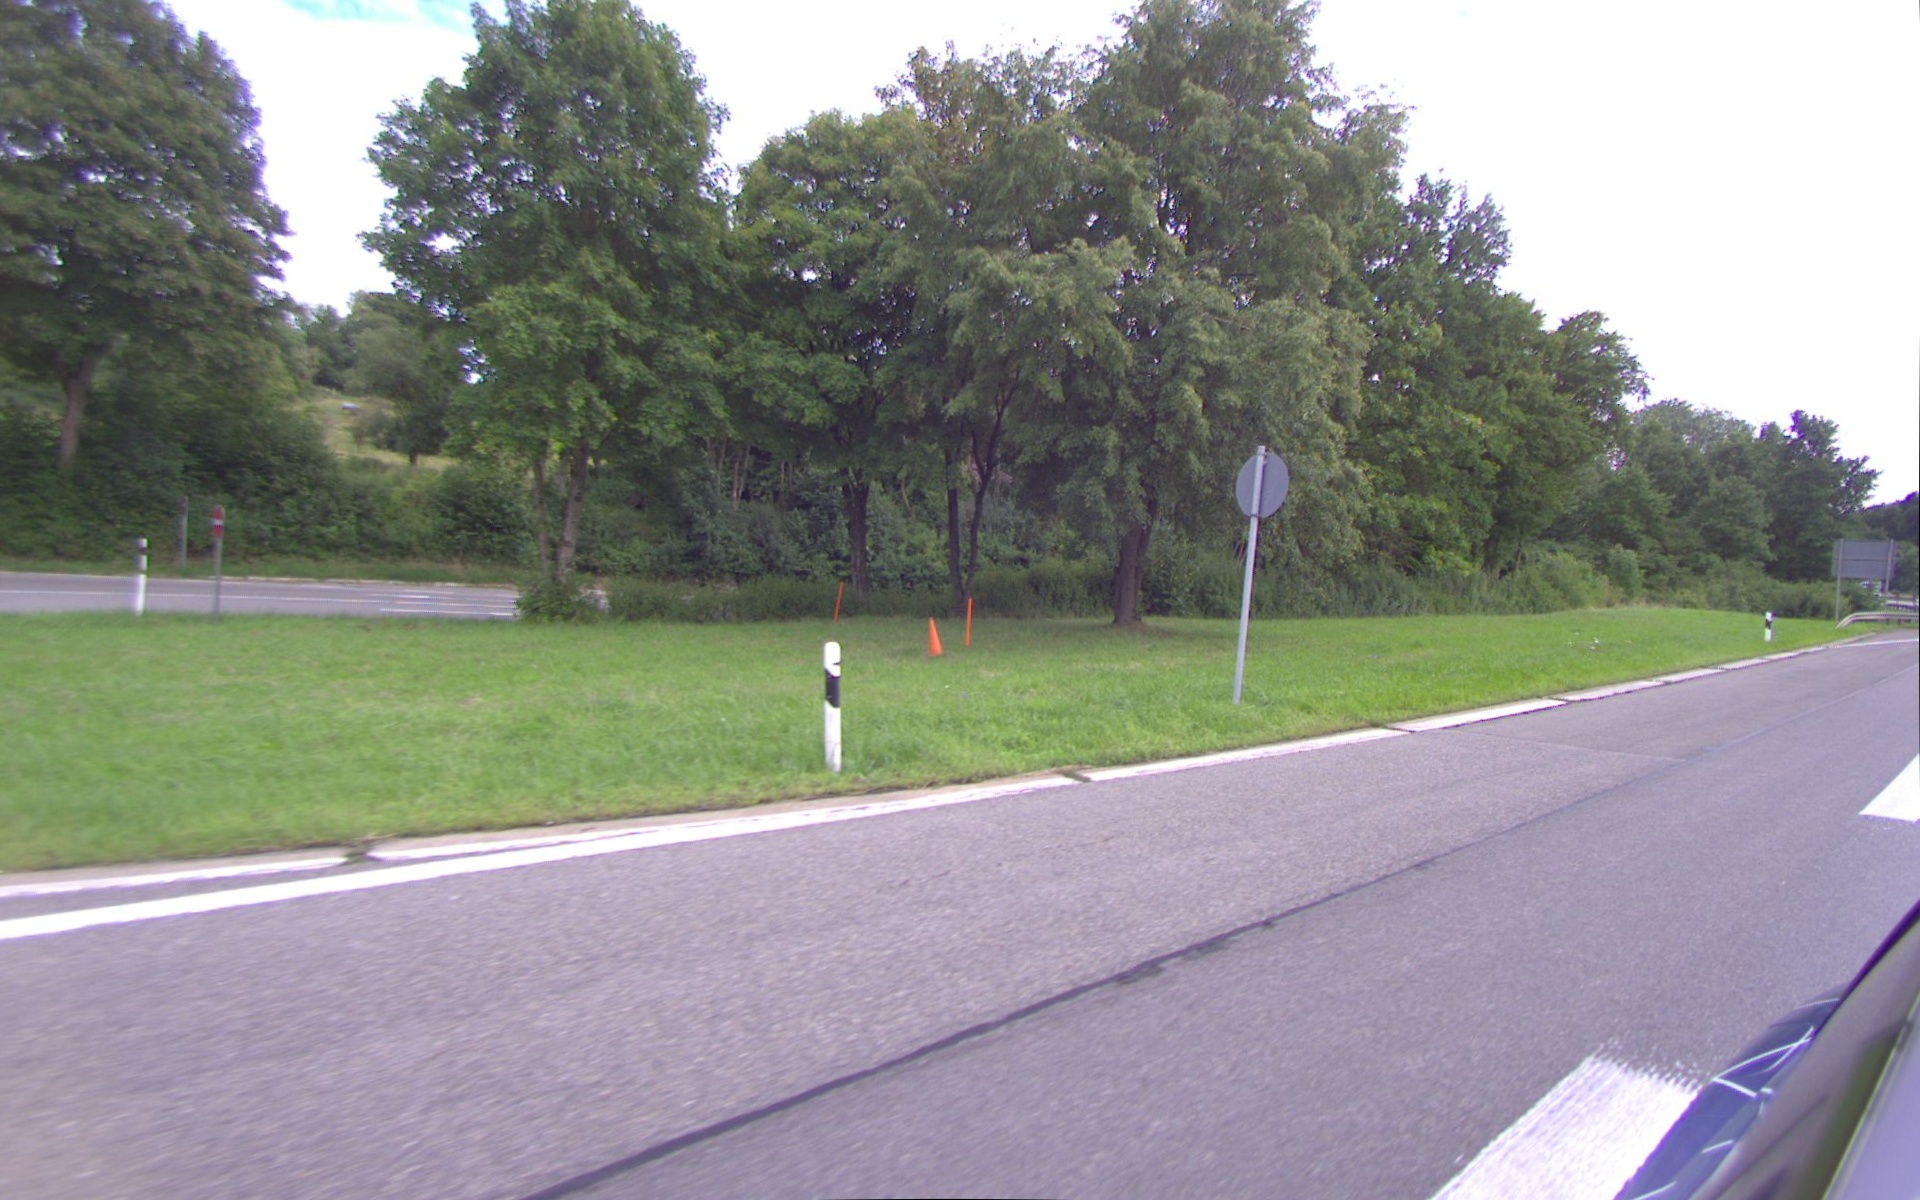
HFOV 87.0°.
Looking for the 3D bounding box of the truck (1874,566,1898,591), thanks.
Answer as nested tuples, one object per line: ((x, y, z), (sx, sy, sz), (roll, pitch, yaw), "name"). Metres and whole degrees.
((153.588, -3.574, 167.883), (2.788, 4.020, 5.847), (2, 2, 43), "truck")
